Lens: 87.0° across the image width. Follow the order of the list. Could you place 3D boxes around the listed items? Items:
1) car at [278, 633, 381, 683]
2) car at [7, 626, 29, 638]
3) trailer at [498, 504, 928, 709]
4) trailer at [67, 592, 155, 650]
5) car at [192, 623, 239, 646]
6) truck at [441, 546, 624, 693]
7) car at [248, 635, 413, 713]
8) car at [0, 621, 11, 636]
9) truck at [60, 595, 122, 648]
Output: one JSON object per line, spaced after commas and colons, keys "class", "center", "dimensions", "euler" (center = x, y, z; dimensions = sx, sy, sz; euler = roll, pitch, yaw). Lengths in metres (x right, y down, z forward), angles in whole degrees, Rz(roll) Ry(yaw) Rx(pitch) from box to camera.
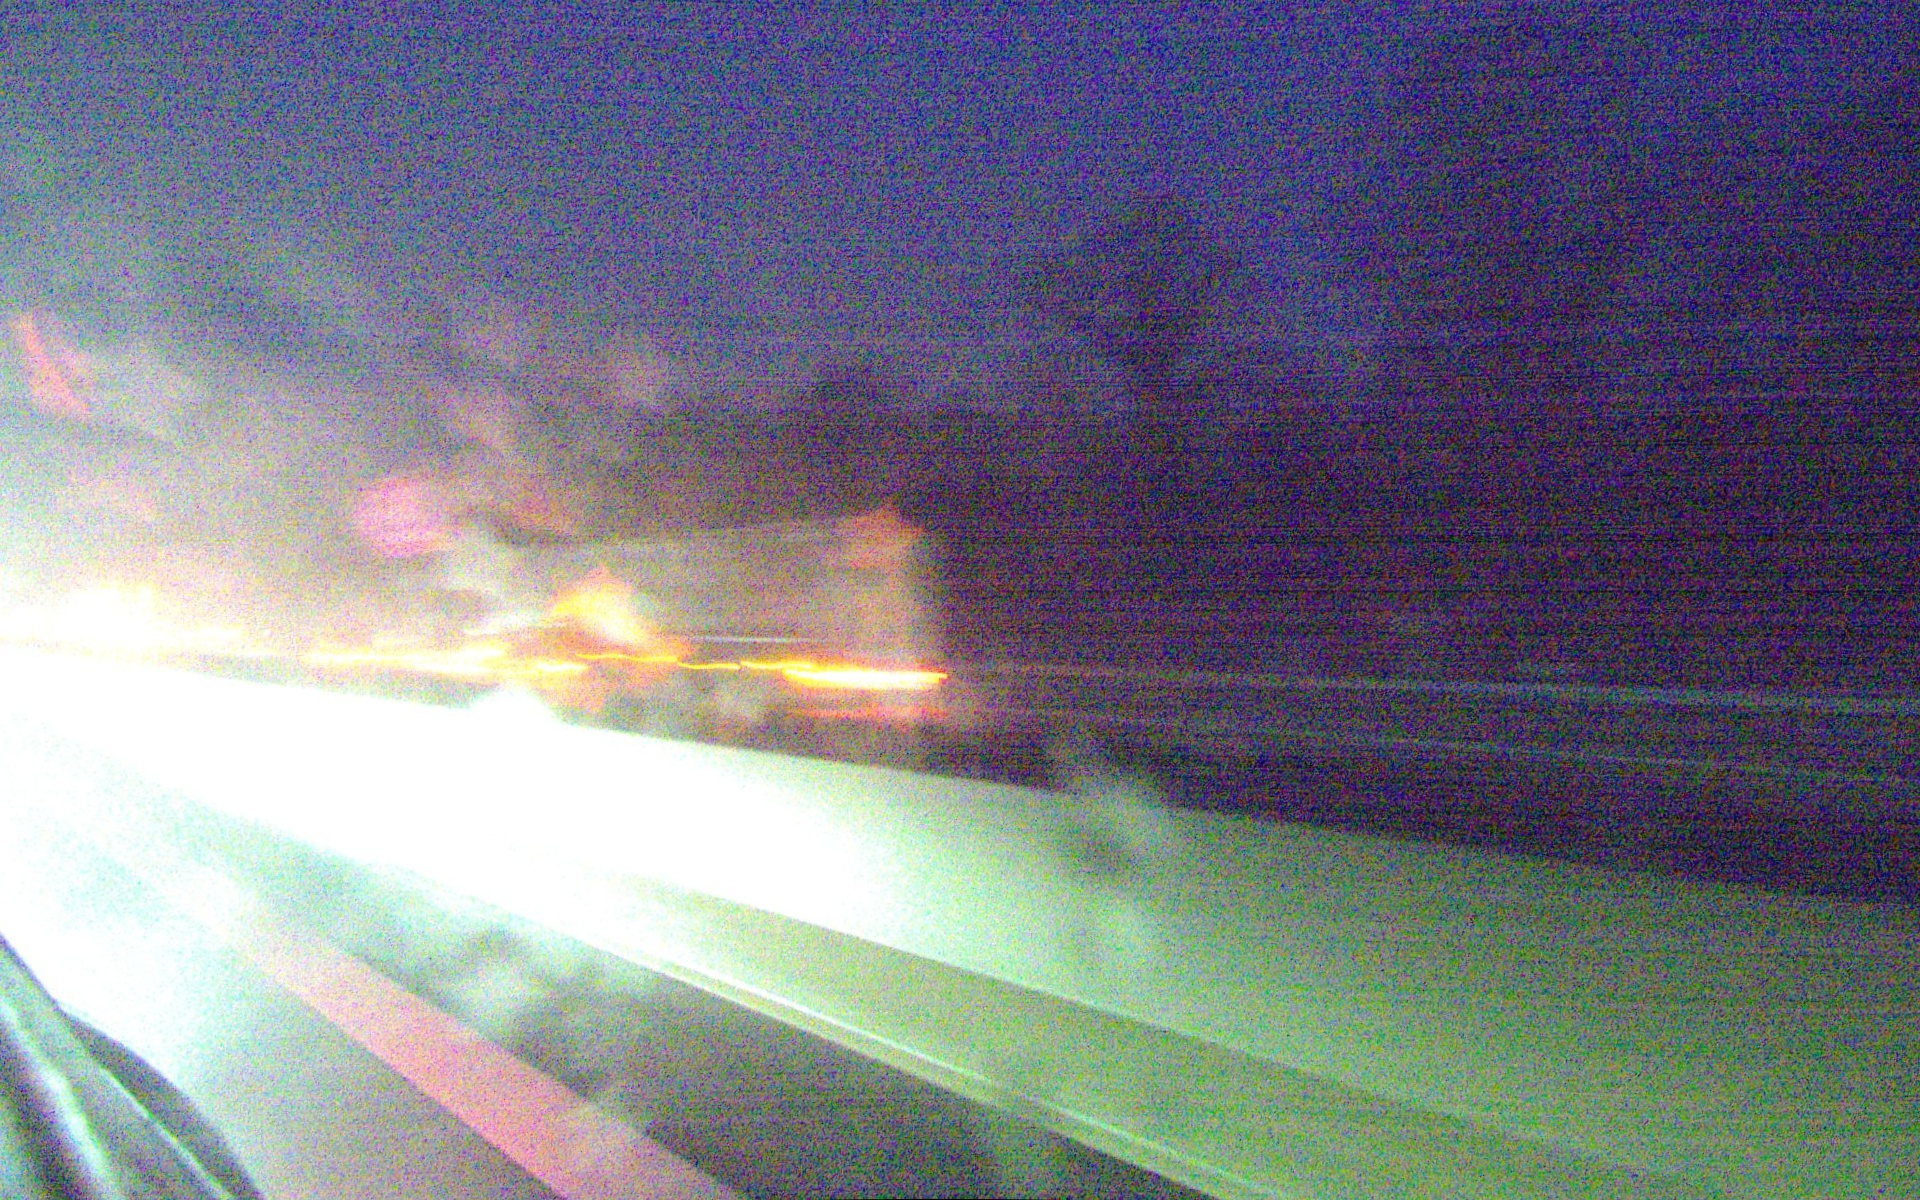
{"class": "car", "center": [-21.434, 1.922, 34.359], "dimensions": [4.345, 1.610, 1.661], "euler": [-2, -3, 40]}
{"class": "car", "center": [-149.639, 5.106, 160.713], "dimensions": [5.383, 1.963, 1.973], "euler": [-1, -3, 41]}
{"class": "trailer", "center": [-7.630, 0.388, 27.637], "dimensions": [15.709, 4.337, 2.856], "euler": [-3, -2, 41]}
{"class": "trailer", "center": [-68.126, 1.729, 81.004], "dimensions": [14.401, 4.326, 3.016], "euler": [-1, -3, 41]}
{"class": "car", "center": [-62.705, 2.896, 85.236], "dimensions": [4.787, 1.907, 2.191], "euler": [-1, -3, 41]}
{"class": "truck", "center": [-14.207, 0.692, 33.350], "dimensions": [6.742, 4.368, 2.856], "euler": [-3, -2, 41]}
{"class": "car", "center": [-13.238, 1.474, 21.182], "dimensions": [4.283, 1.458, 1.661], "euler": [-2, -3, 40]}
{"class": "car", "center": [-93.223, 2.700, 97.667], "dimensions": [3.998, 1.431, 1.973], "euler": [-1, -3, 41]}
{"class": "truck", "center": [-73.894, 1.905, 86.012], "dimensions": [6.080, 4.326, 3.022], "euler": [-1, -3, 41]}
